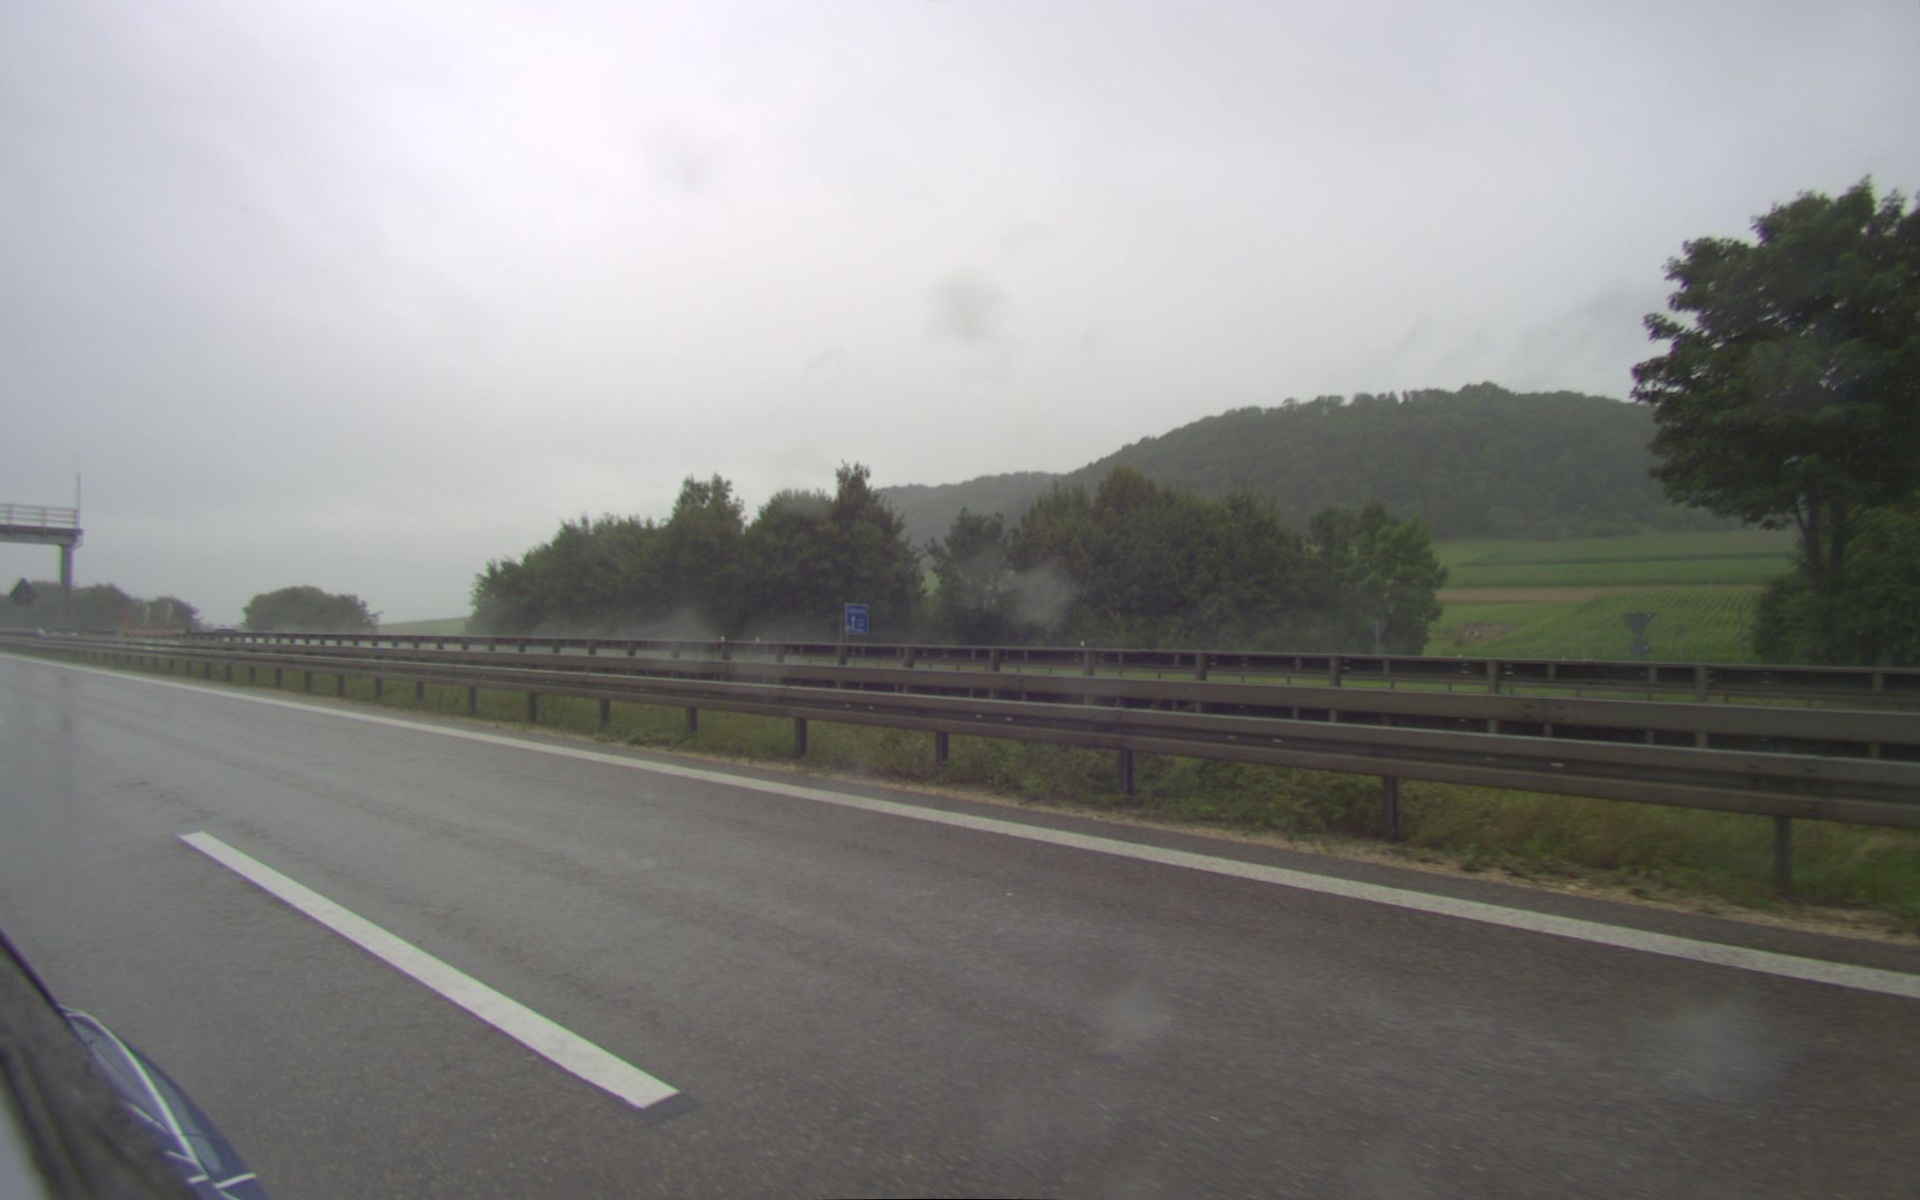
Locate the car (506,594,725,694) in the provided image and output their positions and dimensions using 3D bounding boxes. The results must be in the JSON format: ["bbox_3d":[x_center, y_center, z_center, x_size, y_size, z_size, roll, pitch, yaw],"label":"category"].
[{"bbox_3d":[-8.833,1.041,25.615,5.994,2.245,2.600,-2,-1,41],"label":"car"}]
